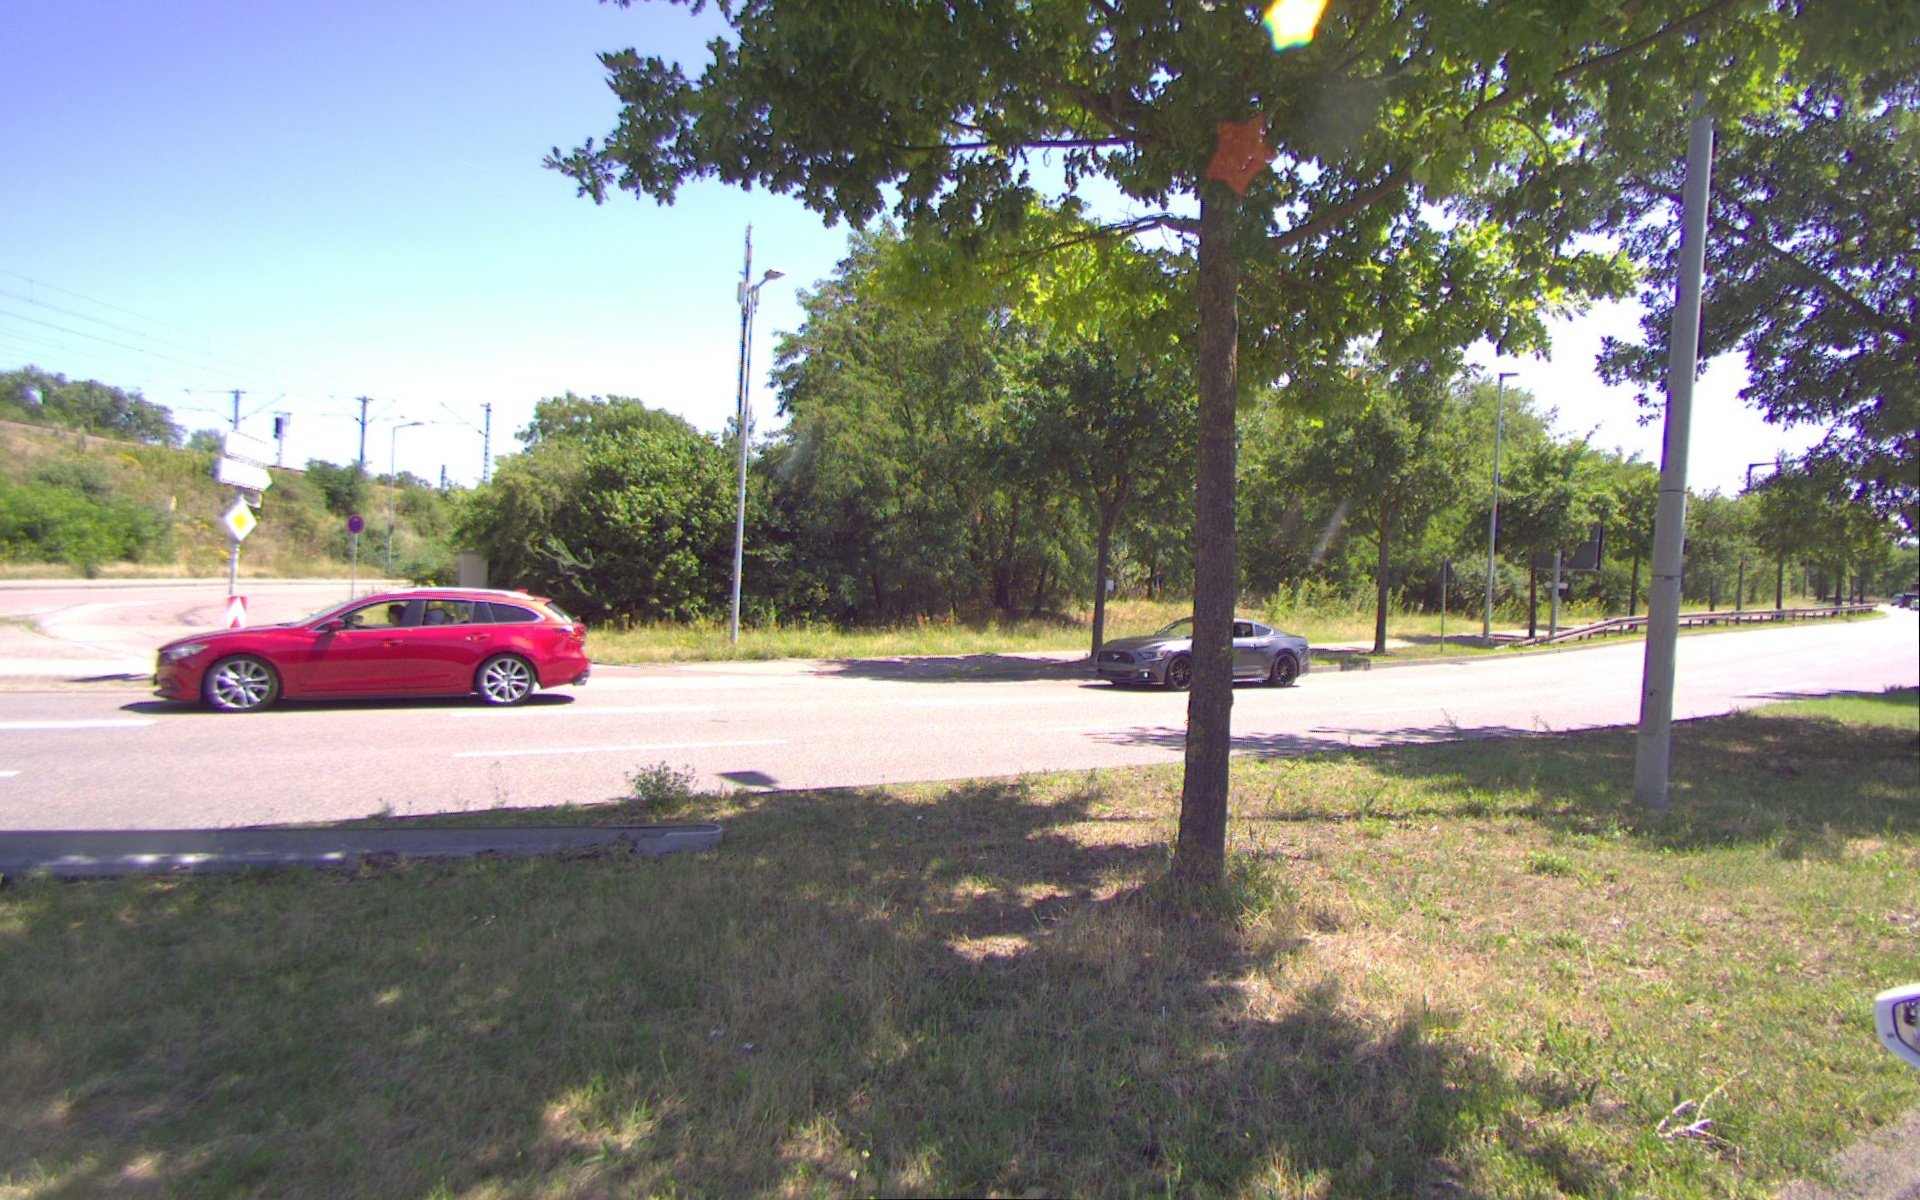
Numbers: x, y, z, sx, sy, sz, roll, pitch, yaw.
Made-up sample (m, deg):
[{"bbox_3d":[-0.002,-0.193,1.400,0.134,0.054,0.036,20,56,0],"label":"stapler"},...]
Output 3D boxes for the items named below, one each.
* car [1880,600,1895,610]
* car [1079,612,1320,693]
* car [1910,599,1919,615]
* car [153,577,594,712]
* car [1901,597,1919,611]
[{"bbox_3d":[115.873,0.600,125.526,1.307,1.154,2.978,3,0,43],"label":"car"},{"bbox_3d":[4.662,1.004,19.396,4.516,1.351,1.800,2,0,-30],"label":"car"},{"bbox_3d":[90.542,0.679,94.626,1.441,1.331,3.616,3,0,44],"label":"car"},{"bbox_3d":[-7.125,0.543,12.708,4.469,1.456,1.823,2,0,-28],"label":"car"},{"bbox_3d":[99.556,0.466,105.222,1.403,1.331,3.317,3,0,44],"label":"car"}]
